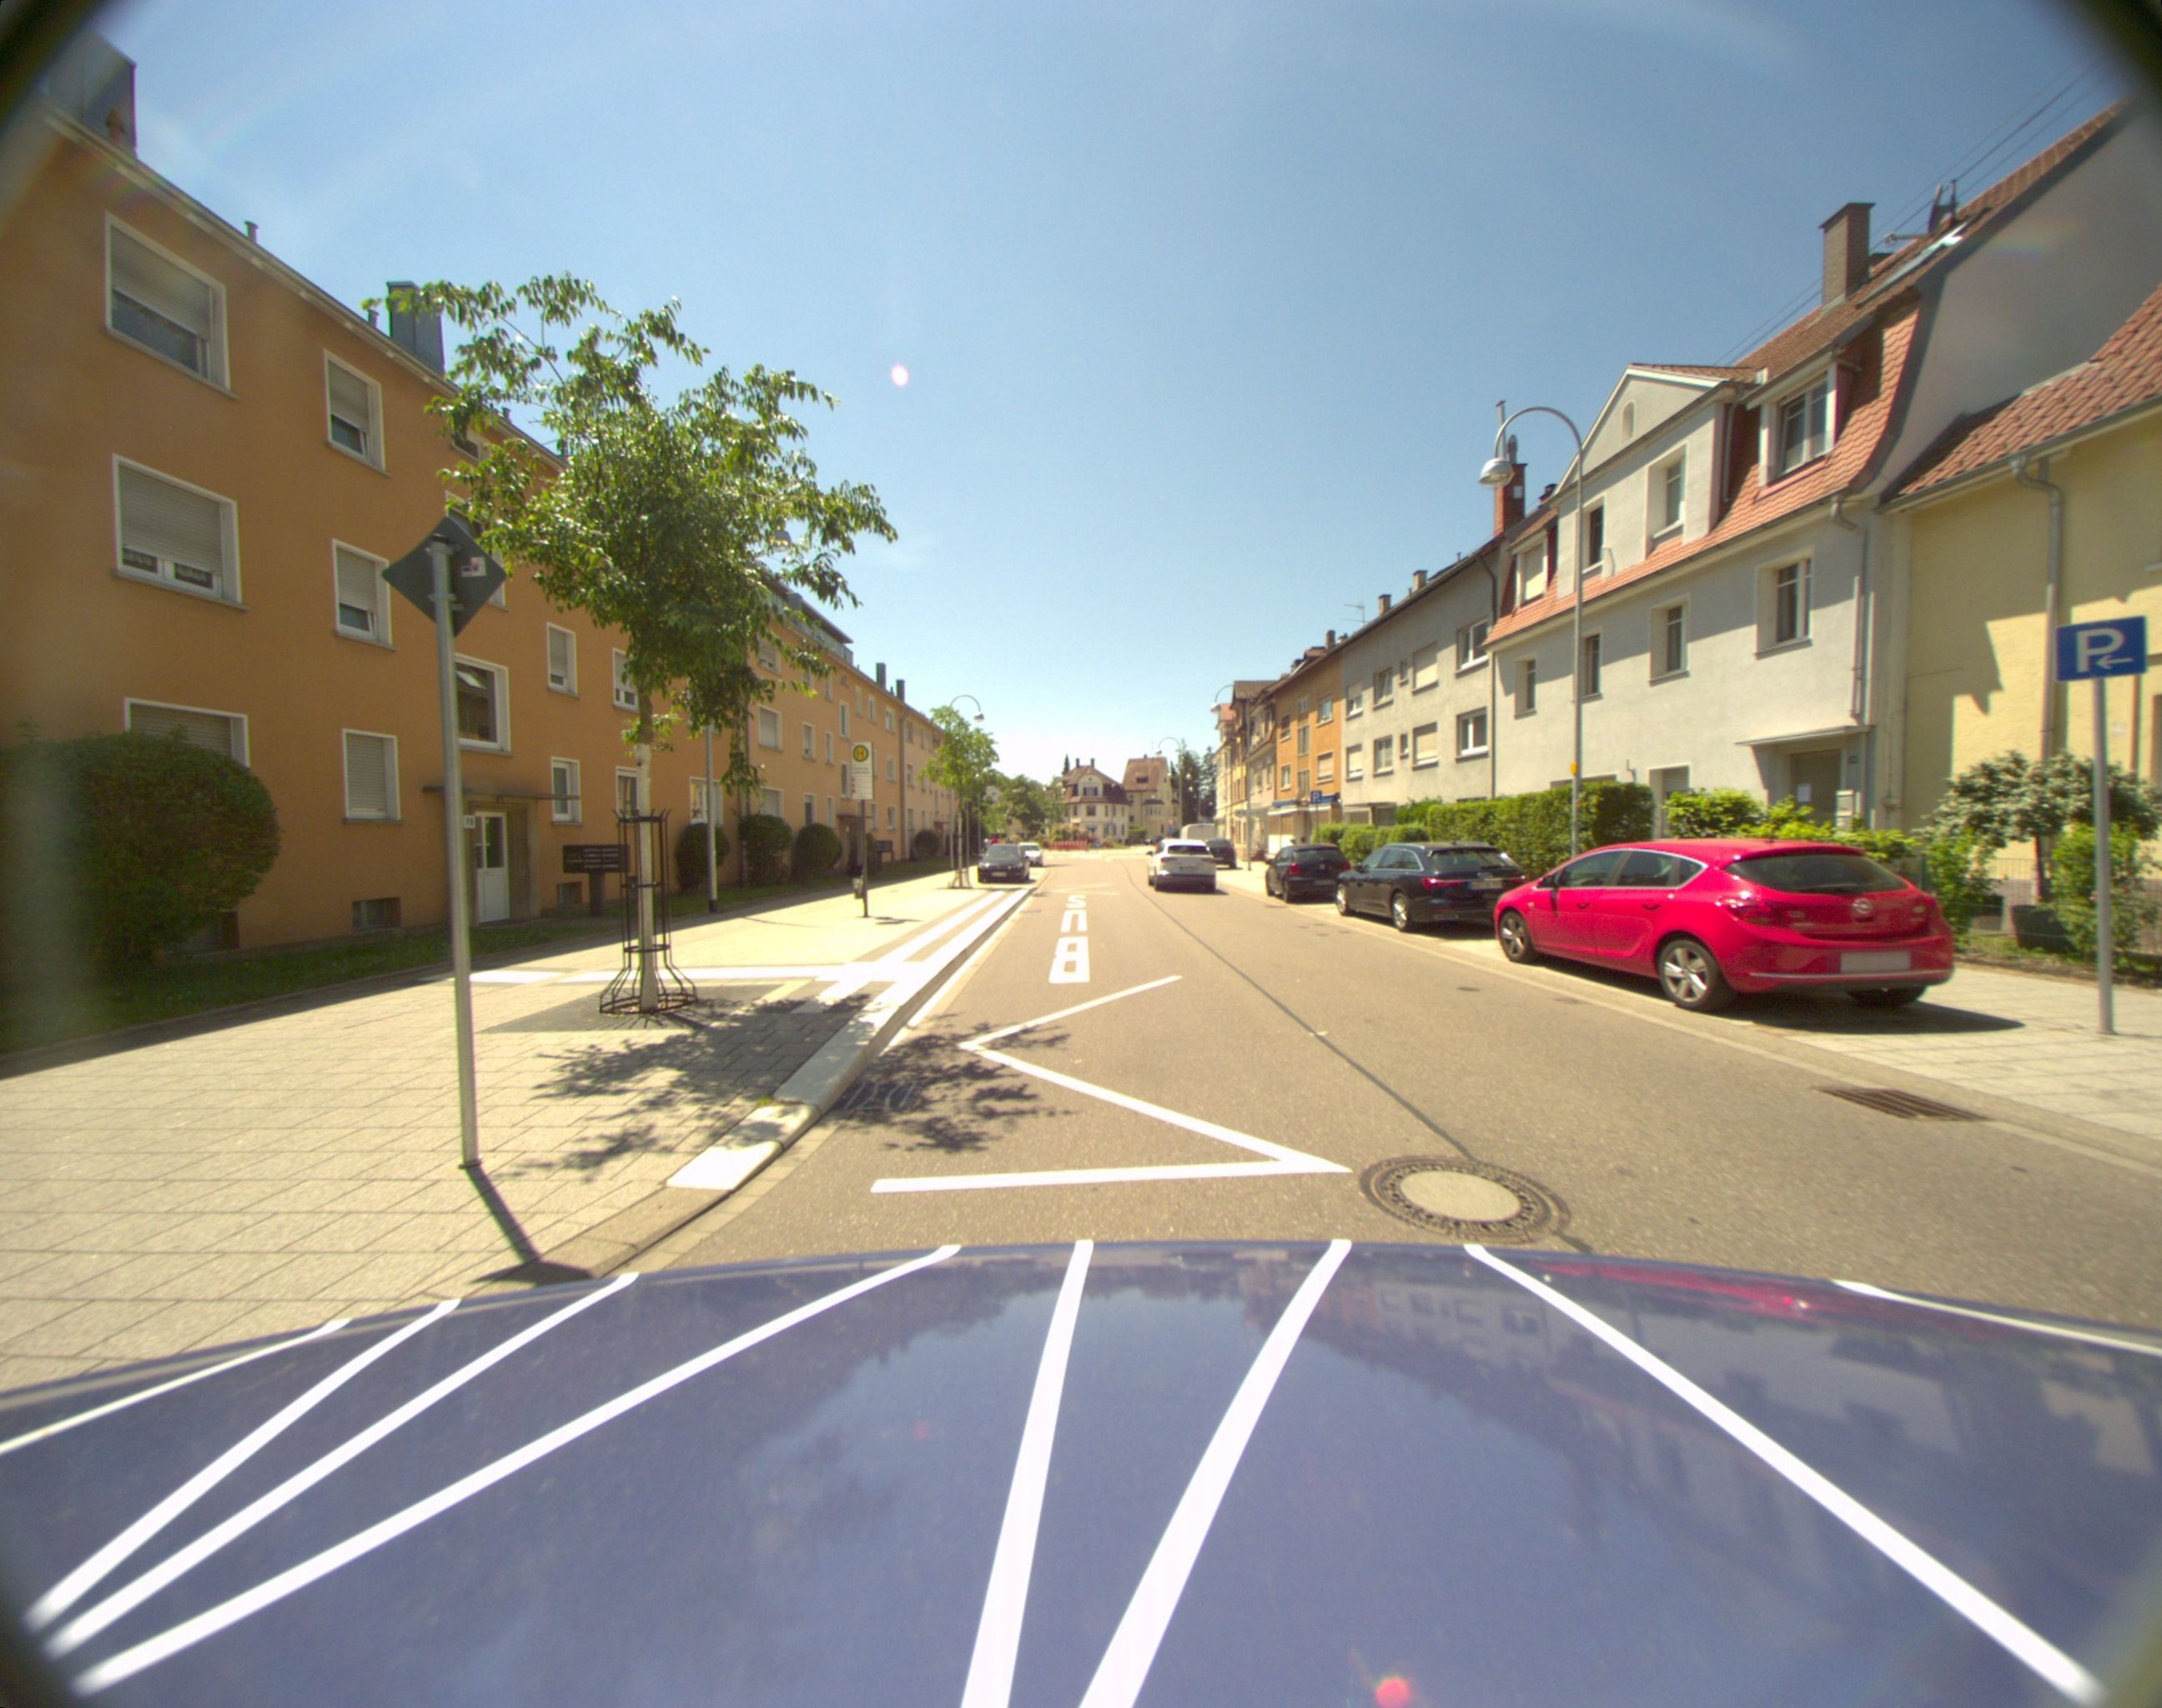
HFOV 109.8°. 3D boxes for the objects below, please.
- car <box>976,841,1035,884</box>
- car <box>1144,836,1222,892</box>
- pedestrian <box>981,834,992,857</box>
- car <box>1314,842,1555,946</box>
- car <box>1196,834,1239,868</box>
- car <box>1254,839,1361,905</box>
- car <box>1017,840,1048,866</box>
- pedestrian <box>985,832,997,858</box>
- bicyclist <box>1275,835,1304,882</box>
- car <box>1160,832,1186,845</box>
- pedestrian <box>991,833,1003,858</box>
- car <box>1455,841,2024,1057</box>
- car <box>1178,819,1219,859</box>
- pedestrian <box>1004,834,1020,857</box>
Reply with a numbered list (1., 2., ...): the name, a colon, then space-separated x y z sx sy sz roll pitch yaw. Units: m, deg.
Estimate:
1. car: -2.918 0.279 30.504 1.838 1.496 5.062 1 2 0
2. car: 3.184 0.244 24.510 1.882 1.588 4.358 1 2 0
3. pedestrian: -7.215 -0.649 57.981 0.796 1.769 1.008 0 2 -4
4. car: 6.043 0.545 13.875 1.868 1.453 5.305 -3 1 0
5. car: 7.249 -0.218 40.604 2.089 1.605 5.111 -2 1 9
6. car: 5.855 0.396 20.147 1.791 1.451 4.198 -3 1 4
7. car: -3.027 -0.095 47.040 1.818 1.469 4.503 0 2 -4
8. pedestrian: -6.421 -0.621 54.228 0.822 1.843 0.984 -1 2 -4
9. bicyclist: 7.518 0.150 27.394 0.784 1.650 0.835 0 2 -1
10. car: 10.491 -1.798 86.138 1.732 1.404 4.007 2 1 25
11. pedestrian: -6.364 -0.655 57.532 0.790 1.801 1.005 2 2 -4
12. car: 6.053 0.666 8.000 1.882 1.471 4.736 -3 2 0
13. car: 7.924 -1.051 51.714 2.124 2.436 6.117 -2 2 4
14. pedestrian: -5.279 -0.672 57.958 1.174 1.723 1.190 2 3 -5
